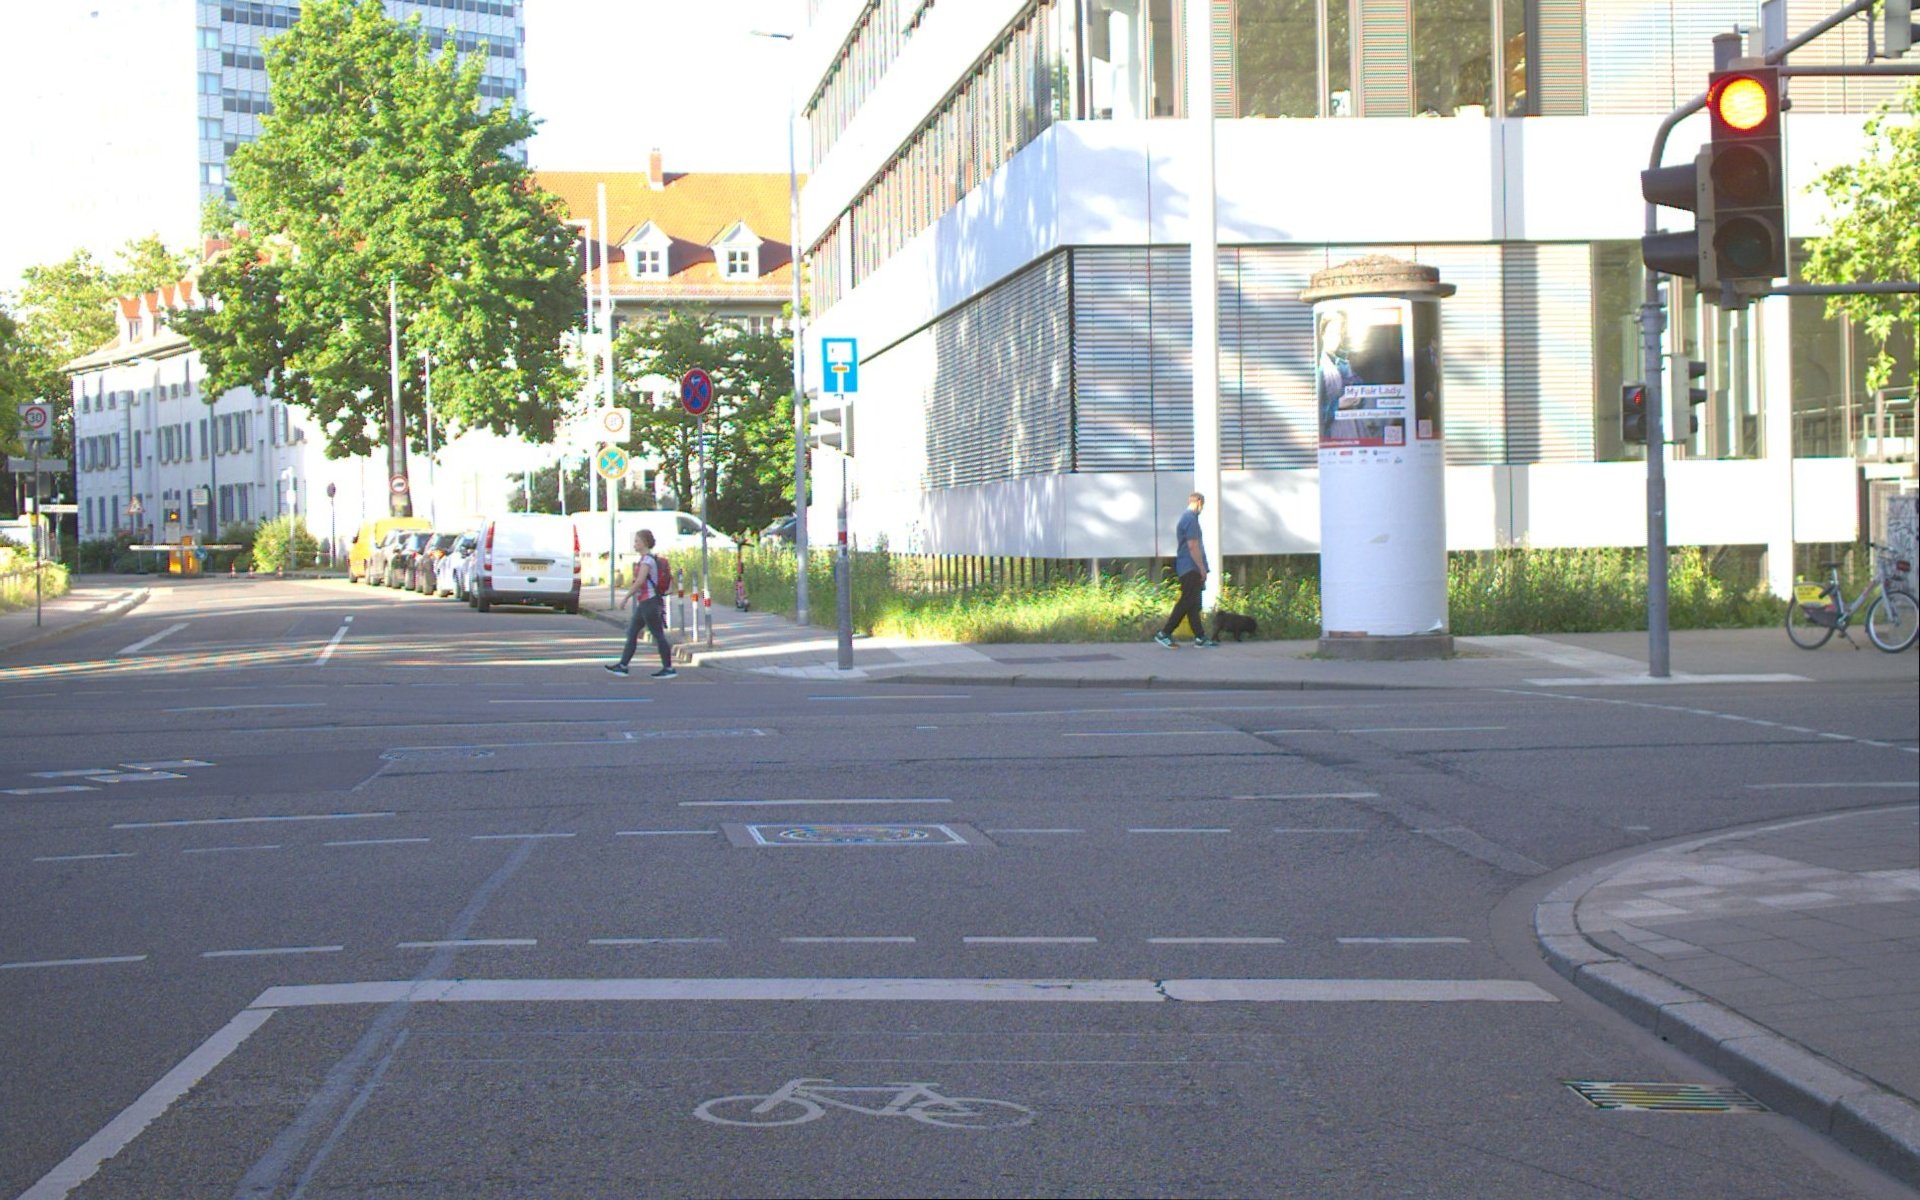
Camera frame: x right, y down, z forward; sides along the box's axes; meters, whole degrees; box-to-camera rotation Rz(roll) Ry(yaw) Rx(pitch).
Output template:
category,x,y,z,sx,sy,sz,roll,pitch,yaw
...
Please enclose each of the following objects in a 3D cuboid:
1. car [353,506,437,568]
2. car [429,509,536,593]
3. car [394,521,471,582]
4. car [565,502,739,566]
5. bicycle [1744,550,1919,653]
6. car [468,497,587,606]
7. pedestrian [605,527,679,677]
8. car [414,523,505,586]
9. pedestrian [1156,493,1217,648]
category,x,y,z,sx,sy,sz,roll,pitch,yaw
car,-15.746,-1.765,95.652,2.100,1.652,4.477,-1,1,-11
car,-10.642,-1.106,76.415,1.946,1.789,4.239,-1,1,-13
car,-13.192,-1.219,85.837,1.703,1.459,4.239,-1,1,-11
car,-9.227,-1.960,102.853,4.880,1.865,2.001,0,0,-17
bicycle,9.178,0.009,36.118,0.463,1.045,1.914,-2,2,-42
car,-8.172,-0.933,64.641,2.066,1.956,4.239,-1,1,-9
pedestrian,-3.414,0.014,36.974,0.712,1.594,0.617,-1,1,-1
car,-11.812,-1.081,80.995,1.703,1.419,4.239,-1,1,-14
pedestrian,2.561,-0.343,38.935,0.652,1.730,0.812,-1,1,3
